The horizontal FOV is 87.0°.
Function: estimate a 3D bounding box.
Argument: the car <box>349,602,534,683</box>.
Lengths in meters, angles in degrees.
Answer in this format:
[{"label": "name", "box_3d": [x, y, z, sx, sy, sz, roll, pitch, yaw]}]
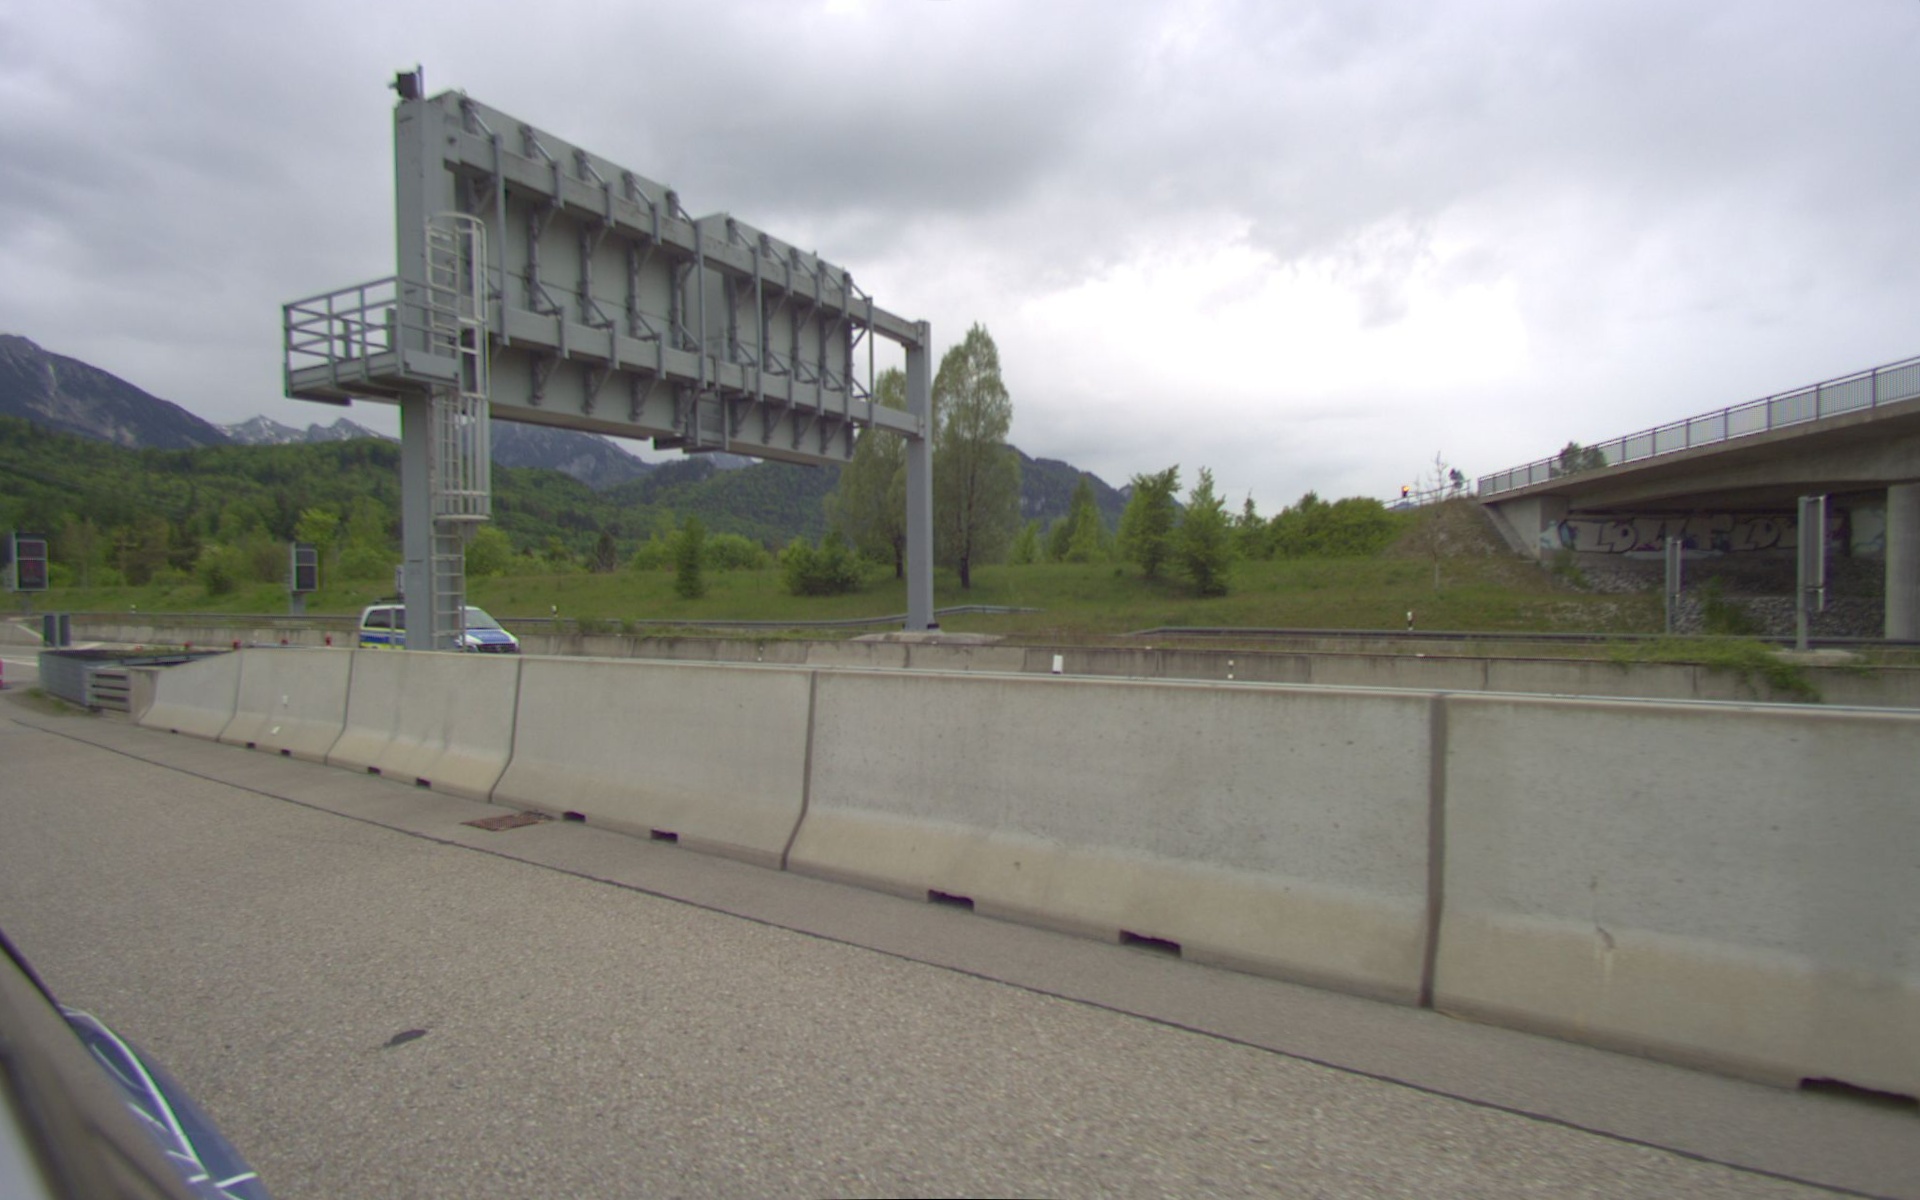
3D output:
[{"label": "car", "box_3d": [-14.086, 1.089, 27.429, 5.032, 2.029, 2.084, 0, -1, 30]}]
